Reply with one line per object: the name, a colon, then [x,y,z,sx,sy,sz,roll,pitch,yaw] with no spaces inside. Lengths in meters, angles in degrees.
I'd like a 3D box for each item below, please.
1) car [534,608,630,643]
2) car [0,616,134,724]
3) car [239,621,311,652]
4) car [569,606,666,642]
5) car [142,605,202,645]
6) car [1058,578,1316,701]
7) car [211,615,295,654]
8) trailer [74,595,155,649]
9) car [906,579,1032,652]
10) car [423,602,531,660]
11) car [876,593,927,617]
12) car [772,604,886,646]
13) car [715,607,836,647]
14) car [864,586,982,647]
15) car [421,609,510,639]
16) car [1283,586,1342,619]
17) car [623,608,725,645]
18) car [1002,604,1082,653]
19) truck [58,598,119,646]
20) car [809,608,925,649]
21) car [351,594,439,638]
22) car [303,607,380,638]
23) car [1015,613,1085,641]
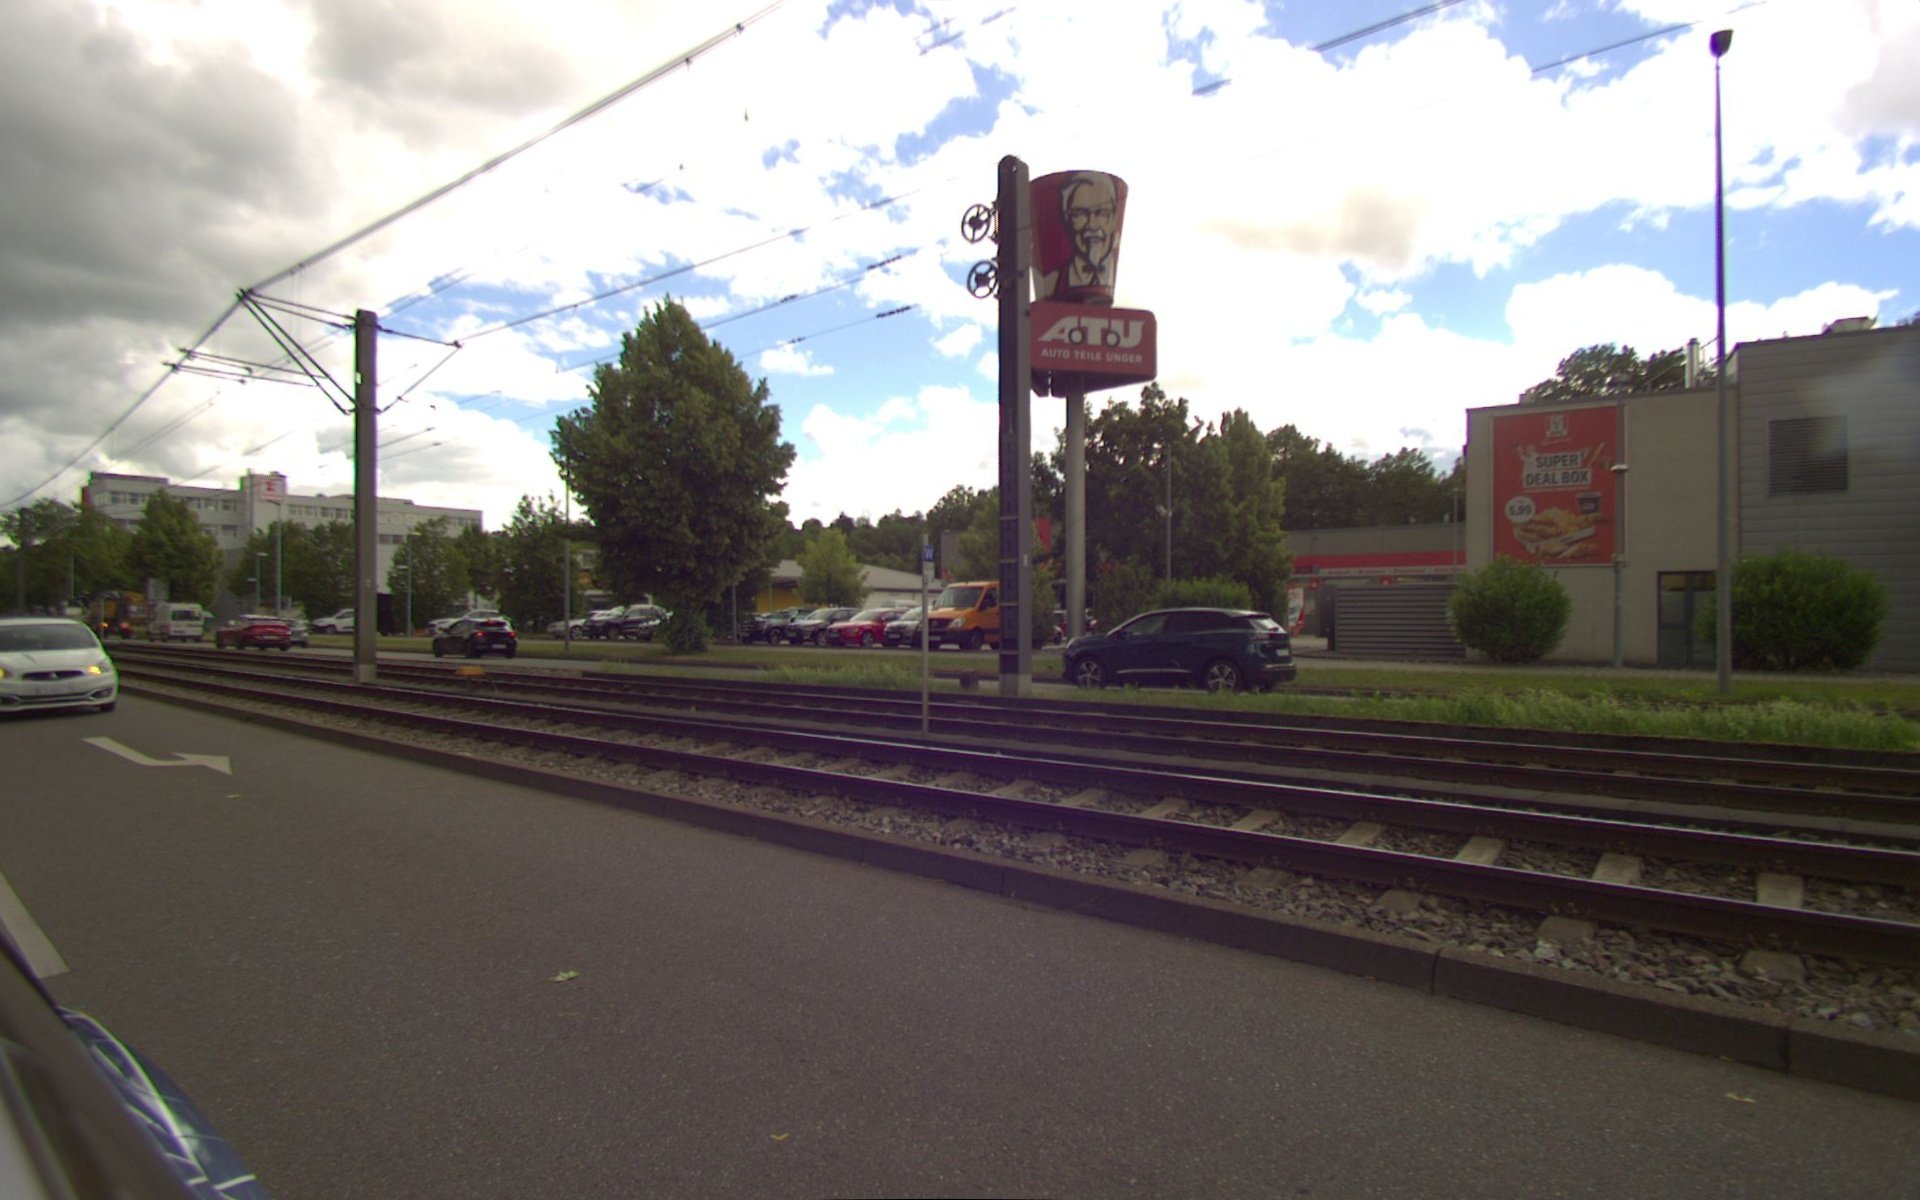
car: [-18.602,1.223,49.931,2.001,1.518,3.947,-1,1,40]
car: [-14.736,1.040,16.032,3.996,1.454,1.764,-1,1,39]
car: [-34.887,1.872,51.535,3.997,1.494,1.973,-1,-3,40]
car: [-16.395,1.128,48.558,1.936,1.518,3.947,-1,1,40]
car: [-51.593,1.667,66.217,5.995,2.518,1.850,-1,-3,40]
car: [4.137,0.700,18.760,4.240,2.029,1.975,-1,-2,37]
car: [-30.856,1.493,44.126,4.477,1.594,1.765,-1,-3,39]
trailer: [-67.448,1.786,80.526,14.419,3.927,2.643,-1,-3,41]
car: [0.344,0.460,33.304,2.057,2.182,3.947,-1,1,40]
car: [-18.006,1.175,37.660,3.993,2.029,1.975,-1,-3,37]
car: [-4.275,0.356,74.291,1.721,1.634,3.692,-1,1,38]
car: [-5.018,0.942,39.068,2.092,1.377,3.947,-1,1,40]
car: [-7.321,1.040,40.526,2.194,1.364,4.329,-1,1,40]
car: [-1.272,0.535,35.773,1.999,1.932,3.947,-1,1,40]
car: [-29.337,1.416,60.155,1.793,1.518,4.428,-1,1,38]
car: [19.305,0.137,55.424,1.919,1.634,3.692,-1,1,38]
car: [-12.764,1.145,45.347,1.936,1.431,3.947,-1,1,40]
car: [3.819,1.288,46.789,1.950,2.028,3.692,-1,1,39]
truck: [-76.050,1.903,88.229,8.628,3.997,2.861,-1,-2,42]
car: [-3.339,1.019,36.996,1.999,1.245,3.947,-1,1,40]
car: [-36.661,1.061,65.738,2.287,2.769,4.423,-1,-2,40]
car: [-43.865,1.557,71.816,2.001,1.933,4.297,-1,1,44]
car: [4.741,1.419,52.834,1.950,1.400,3.692,-1,-2,39]
